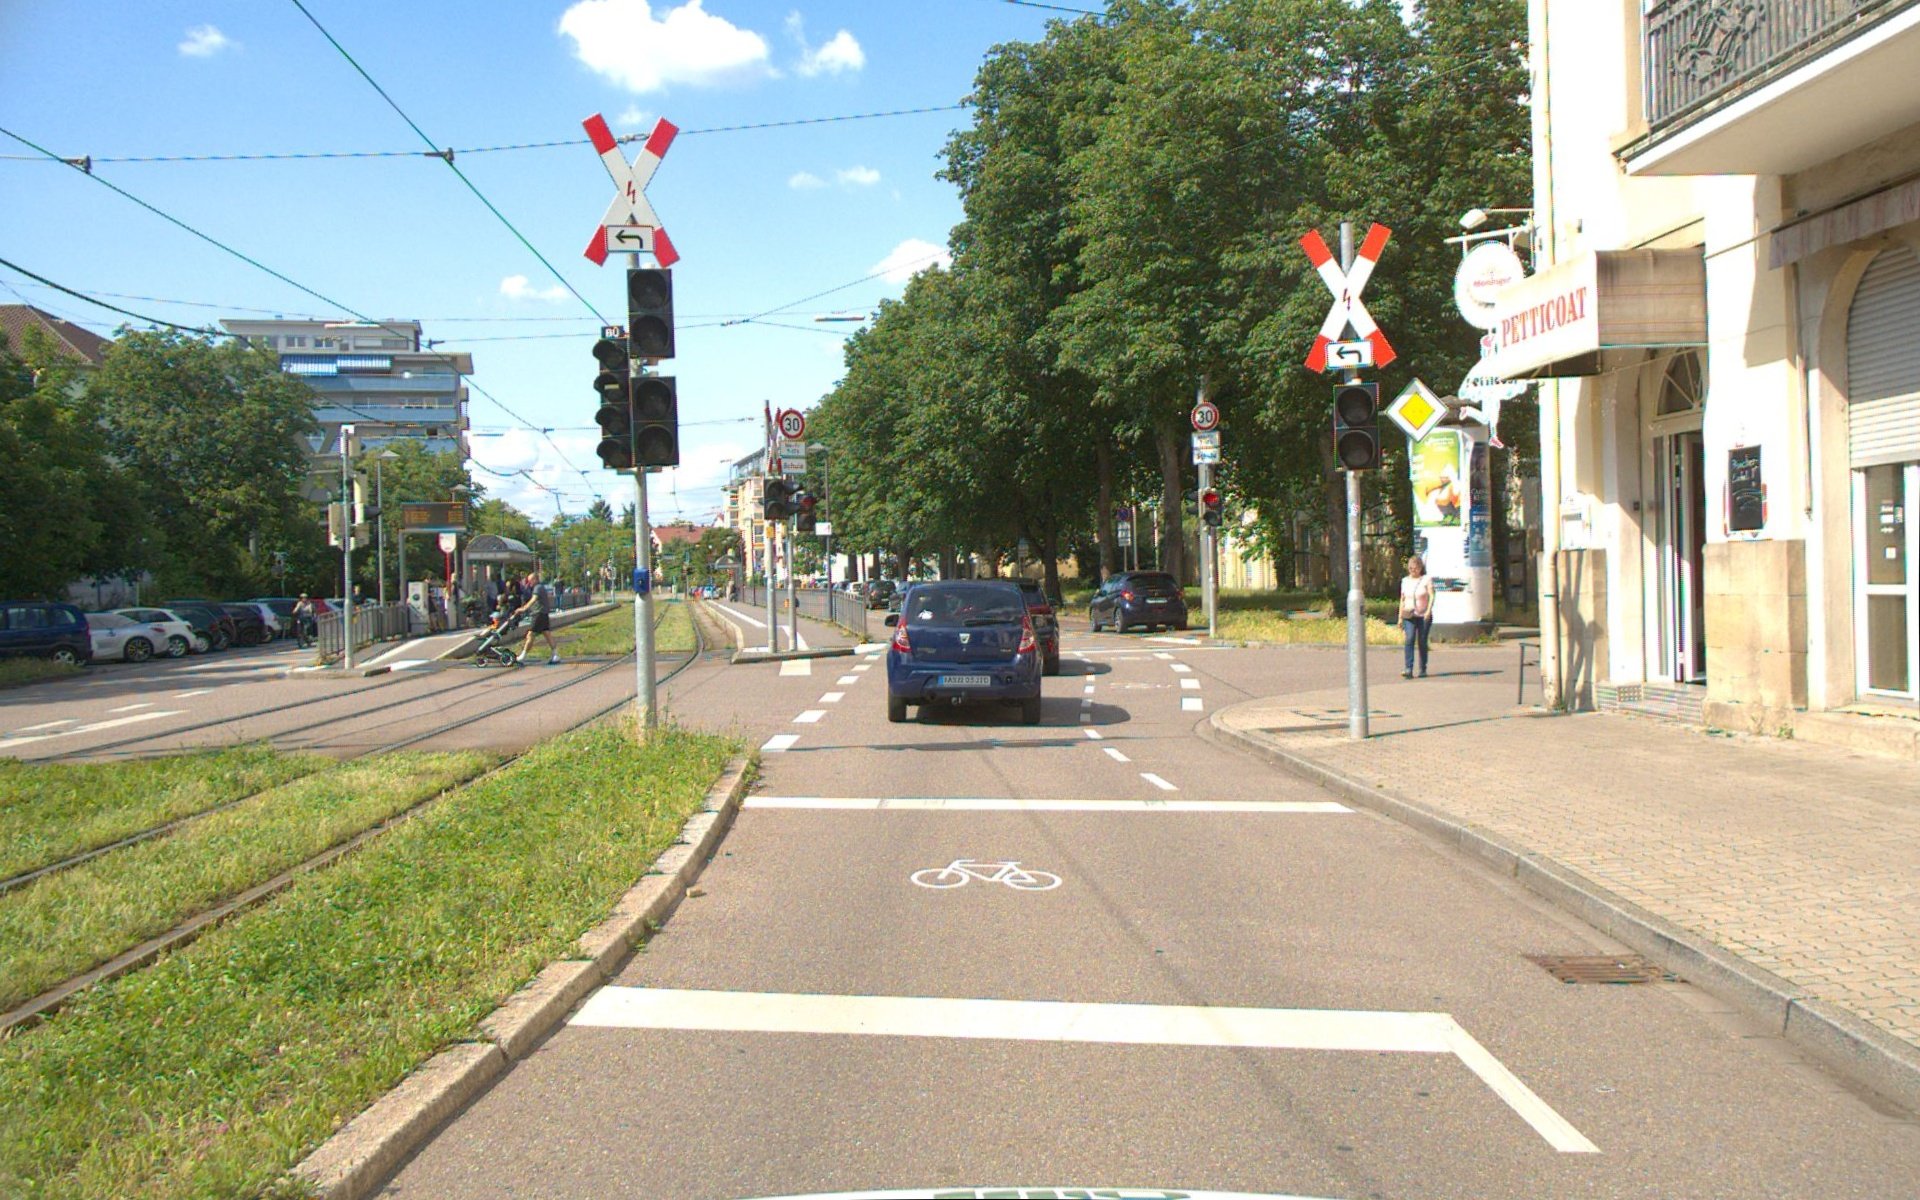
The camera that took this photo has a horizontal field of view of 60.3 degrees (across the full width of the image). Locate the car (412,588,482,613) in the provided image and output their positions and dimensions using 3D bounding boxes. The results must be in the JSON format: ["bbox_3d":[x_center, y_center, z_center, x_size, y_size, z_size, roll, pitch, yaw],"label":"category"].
[{"bbox_3d":[-33.065,0.037,106.564,3.969,1.472,1.700,-2,1,-44],"label":"car"}]

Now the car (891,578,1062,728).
[{"bbox_3d":[0.130,0.523,19.010,1.732,1.487,3.775,-2,1,-1],"label":"car"}]

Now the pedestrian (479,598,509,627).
[{"bbox_3d":[-16.982,0.454,60.281,0.907,1.006,0.796,-3,-1,-7],"label":"pedestrian"}]

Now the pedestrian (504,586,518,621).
[{"bbox_3d":[-19.143,0.134,70.520,0.480,1.477,0.461,-3,1,-19],"label":"pedestrian"}]

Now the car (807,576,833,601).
[{"bbox_3d":[-10.332,-0.848,122.055,1.794,1.792,3.997,-2,1,-4],"label":"car"}]

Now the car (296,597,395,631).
[{"bbox_3d":[-28.418,0.643,76.545,1.684,1.391,3.980,-2,1,39],"label":"car"}]

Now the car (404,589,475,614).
[{"bbox_3d":[-31.911,0.105,101.437,1.606,1.410,3.986,-1,1,35],"label":"car"}]

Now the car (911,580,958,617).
[{"bbox_3d":[-1.143,-0.080,72.619,1.825,1.470,3.997,-3,1,-4],"label":"car"}]

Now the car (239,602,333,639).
[{"bbox_3d":[-27.131,0.815,66.607,1.426,1.332,3.236,-1,1,35],"label":"car"}]

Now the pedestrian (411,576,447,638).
[{"bbox_3d":[-15.239,0.196,47.452,0.699,1.756,0.666,-1,1,33],"label":"pedestrian"}]

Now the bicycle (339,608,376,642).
[{"bbox_3d":[-22.892,0.941,62.886,1.135,1.198,1.780,-3,0,-16],"label":"bicycle"}]

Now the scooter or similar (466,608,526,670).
[{"bbox_3d":[-8.806,0.728,31.412,0.937,1.083,0.795,-4,1,-10],"label":"scooter or similar"}]

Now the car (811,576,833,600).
[{"bbox_3d":[-10.687,-0.918,128.157,1.635,1.802,3.996,-2,1,-5],"label":"car"}]

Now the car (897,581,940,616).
[{"bbox_3d":[-1.960,-0.082,77.301,1.815,1.542,3.997,-2,1,-4],"label":"car"}]

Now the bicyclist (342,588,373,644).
[{"bbox_3d":[-22.894,0.623,62.866,0.932,2.049,1.569,-3,-1,-16],"label":"bicyclist"}]

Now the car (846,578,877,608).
[{"bbox_3d":[-6.189,-0.460,103.696,1.587,1.780,3.992,-2,1,-8],"label":"car"}]

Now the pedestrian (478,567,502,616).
[{"bbox_3d":[-16.636,-0.303,58.545,0.643,1.722,0.655,-2,1,-9],"label":"pedestrian"}]

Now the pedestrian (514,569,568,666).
[{"bbox_3d":[-8.068,0.330,31.870,0.855,1.806,1.001,-3,0,-11],"label":"pedestrian"}]

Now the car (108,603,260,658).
[{"bbox_3d":[-24.238,0.945,51.753,1.660,1.482,3.979,-2,1,40],"label":"car"}]

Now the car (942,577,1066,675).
[{"bbox_3d":[0.634,0.358,26.167,1.666,1.391,3.513,-1,1,-3],"label":"car"}]

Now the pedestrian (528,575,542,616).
[{"bbox_3d":[-18.145,-0.189,70.652,0.480,1.742,0.461,-3,1,-19],"label":"pedestrian"}]

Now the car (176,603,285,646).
[{"bbox_3d":[-25.448,0.842,57.774,1.425,1.332,3.238,-1,1,32],"label":"car"}]

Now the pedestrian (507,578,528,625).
[{"bbox_3d":[-17.148,0.057,64.146,0.592,1.796,0.639,-2,0,0],"label":"pedestrian"}]

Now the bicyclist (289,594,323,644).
[{"bbox_3d":[-21.495,0.620,54.402,0.770,1.609,0.862,-2,1,-6],"label":"bicyclist"}]

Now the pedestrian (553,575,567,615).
[{"bbox_3d":[-20.650,-0.251,85.434,0.649,2.049,0.801,-2,1,-14],"label":"pedestrian"}]

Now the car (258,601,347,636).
[{"bbox_3d":[-27.704,0.785,69.792,1.426,1.332,3.236,-1,1,35],"label":"car"}]

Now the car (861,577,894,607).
[{"bbox_3d":[-4.783,-0.476,95.154,1.792,1.564,3.997,-2,1,-4],"label":"car"}]

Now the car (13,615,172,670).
[{"bbox_3d":[-22.725,1.098,43.393,1.516,1.258,3.370,-1,1,41],"label":"car"}]

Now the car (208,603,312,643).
[{"bbox_3d":[-25.714,0.845,60.847,1.426,1.332,3.236,-1,1,35],"label":"car"}]

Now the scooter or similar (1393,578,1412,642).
[{"bbox_3d":[8.631,0.191,32.247,0.299,1.210,1.163,-1,1,14],"label":"scooter or similar"}]

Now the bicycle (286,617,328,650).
[{"bbox_3d":[-21.480,1.076,54.423,0.667,0.987,2.176,-2,1,-5],"label":"bicycle"}]

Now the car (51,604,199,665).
[{"bbox_3d":[-23.324,0.934,46.239,1.517,1.531,3.368,-1,1,43],"label":"car"}]

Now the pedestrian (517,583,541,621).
[{"bbox_3d":[-16.862,0.068,64.744,0.641,1.450,0.562,-2,1,28],"label":"pedestrian"}]

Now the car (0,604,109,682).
[{"bbox_3d":[-21.949,0.993,37.773,1.694,1.669,4.109,-1,1,41],"label":"car"}]

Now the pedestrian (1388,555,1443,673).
[{"bbox_3d":[6.622,0.197,24.028,0.658,1.677,0.764,-2,0,19],"label":"pedestrian"}]

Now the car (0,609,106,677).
[{"bbox_3d":[-23.040,1.063,39.783,1.694,1.525,4.109,-1,1,41],"label":"car"}]

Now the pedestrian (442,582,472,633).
[{"bbox_3d":[-15.956,0.231,52.483,0.650,1.596,0.685,-3,1,-1],"label":"pedestrian"}]

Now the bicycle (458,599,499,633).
[{"bbox_3d":[-15.212,0.496,52.273,0.672,0.991,1.771,-4,1,1],"label":"bicycle"}]

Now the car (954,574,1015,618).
[{"bbox_3d":[0.862,-0.158,60.627,1.825,1.470,3.997,-3,1,-4],"label":"car"}]

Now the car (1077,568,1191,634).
[{"bbox_3d":[4.198,0.010,40.438,1.733,1.458,3.895,-3,1,-10],"label":"car"}]
